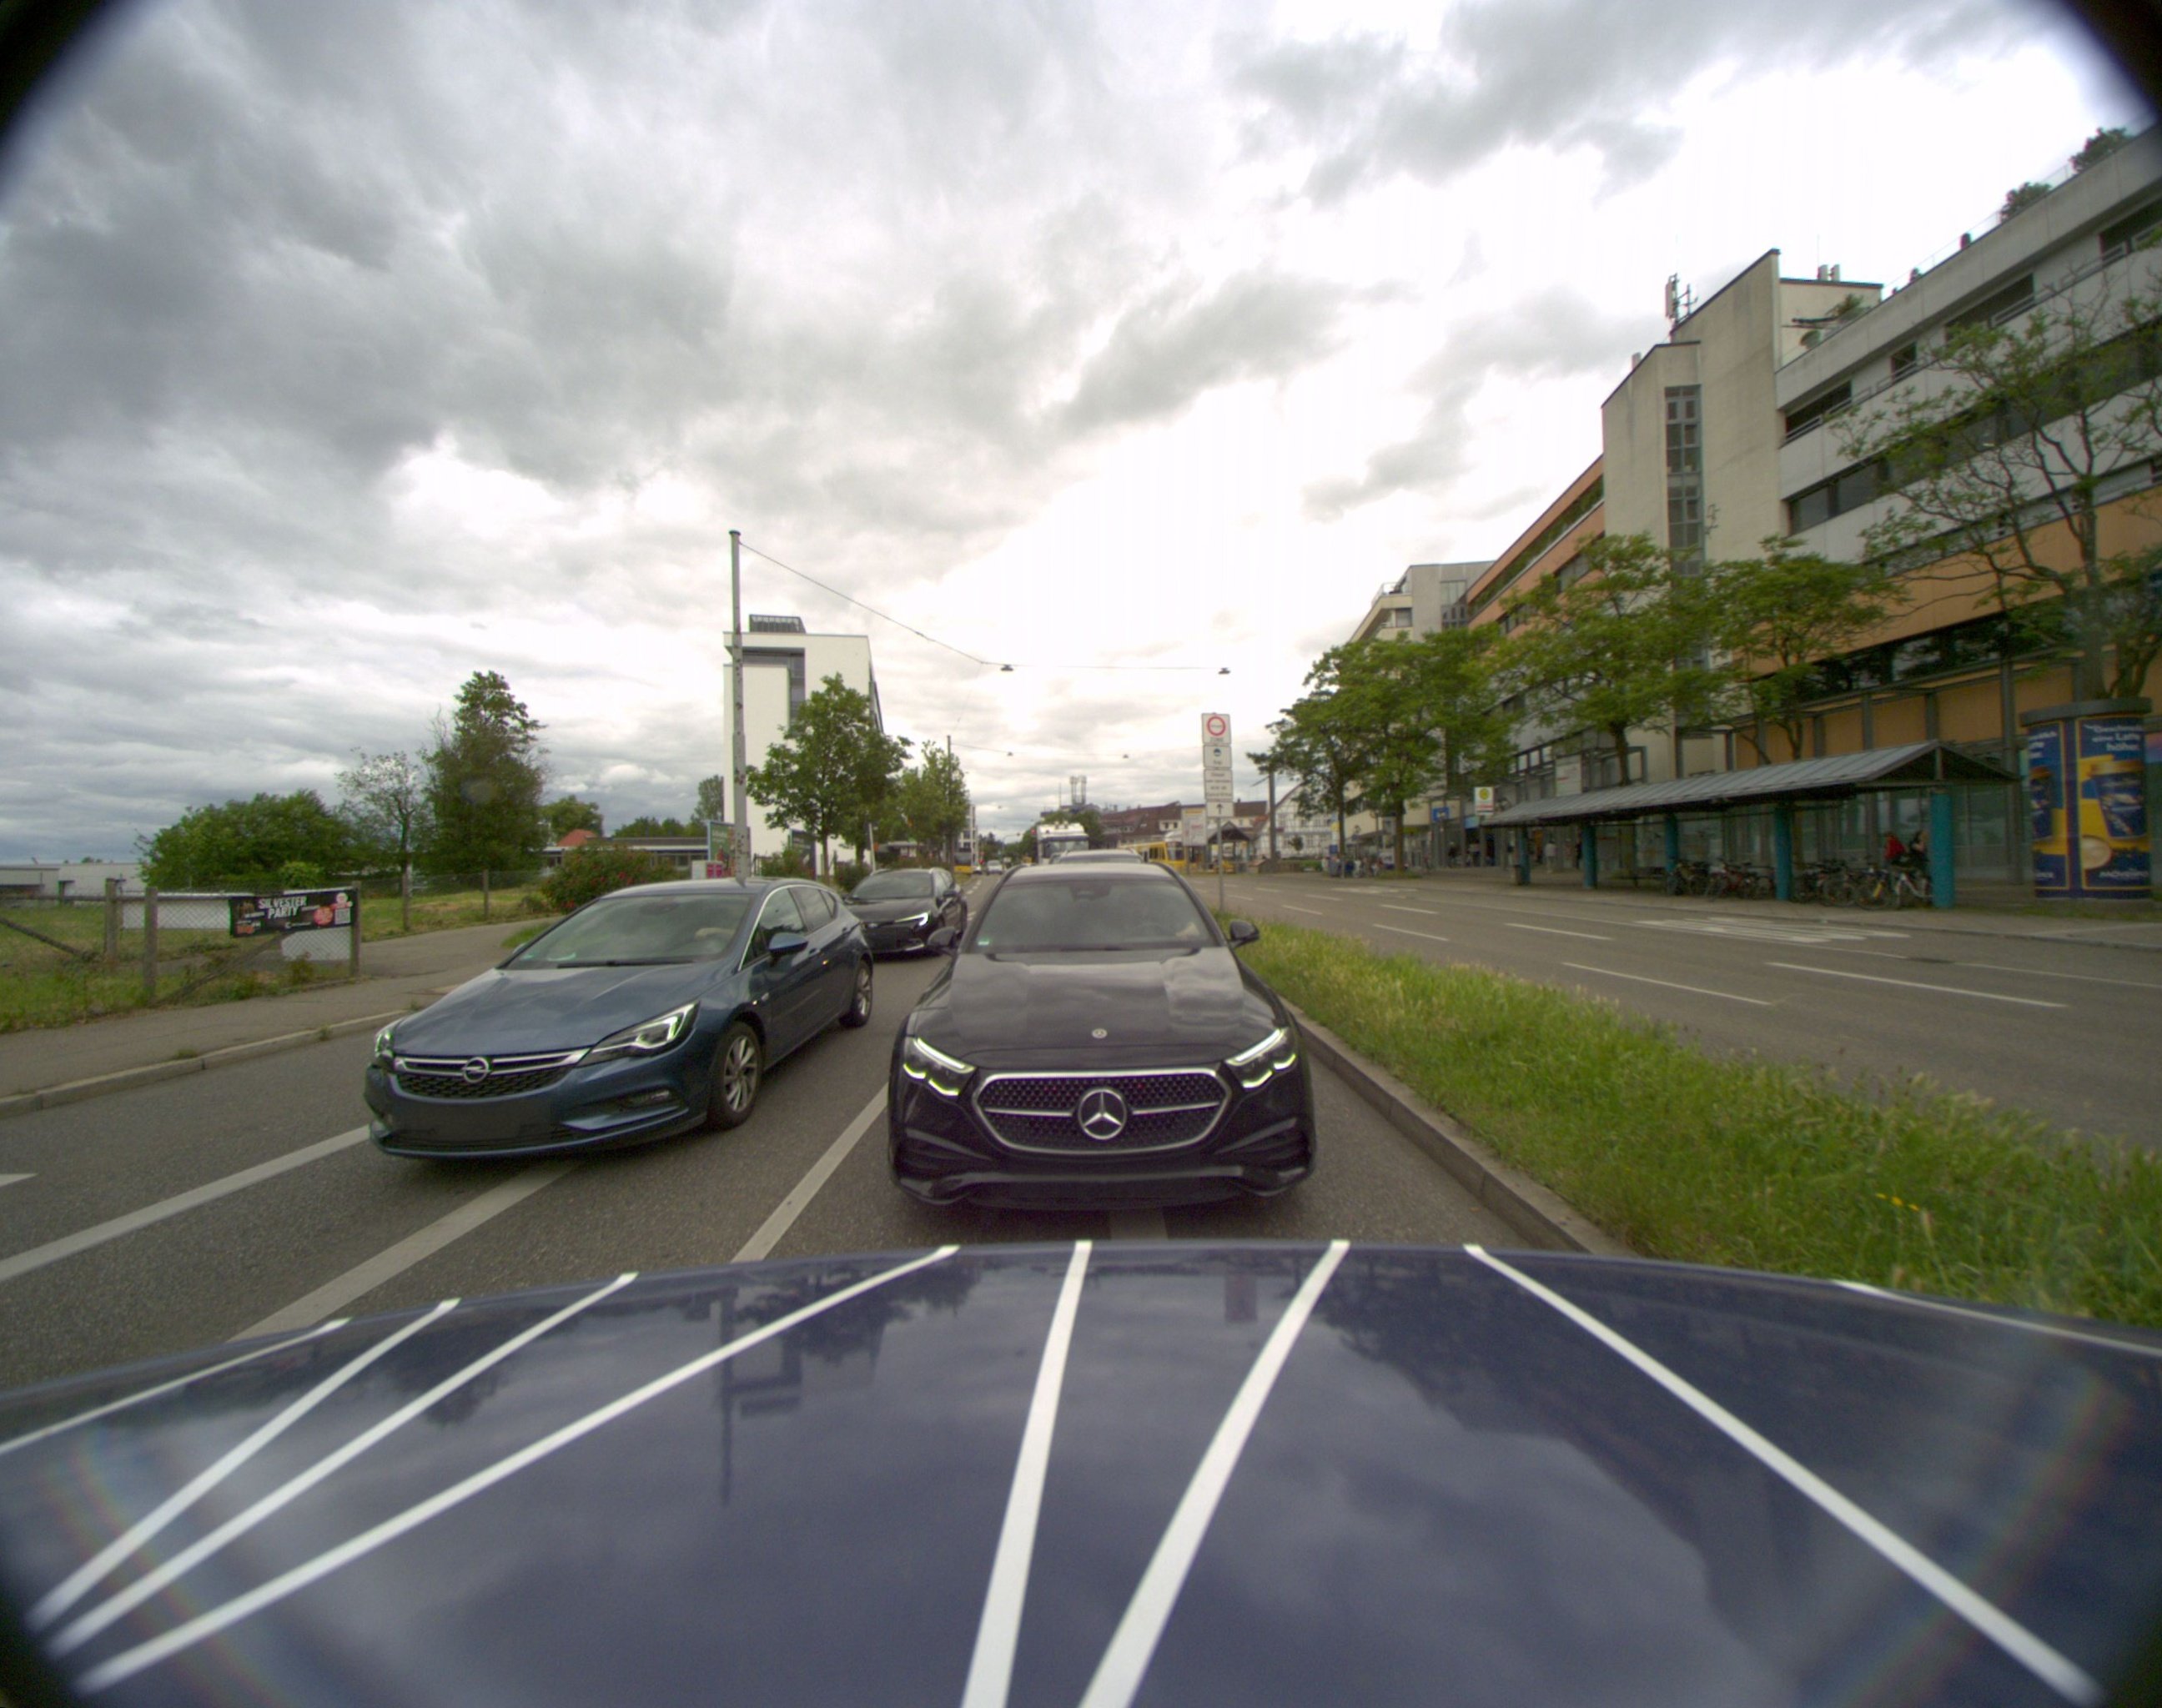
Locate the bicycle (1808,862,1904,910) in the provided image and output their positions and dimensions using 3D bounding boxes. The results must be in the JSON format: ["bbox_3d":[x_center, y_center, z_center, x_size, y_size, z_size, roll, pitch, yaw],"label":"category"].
[{"bbox_3d":[18.630,0.750,18.281,1.735,1.035,0.549,-3,1,-2],"label":"bicycle"}]

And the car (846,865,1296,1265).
[{"bbox_3d":[-0.050,0.883,5.189,1.793,1.507,4.249,-1,0,0],"label":"car"}]

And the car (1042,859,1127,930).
[{"bbox_3d":[0.049,0.910,18.907,1.865,1.520,3.999,-1,0,-1],"label":"car"}]

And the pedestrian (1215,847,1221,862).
[{"bbox_3d":[18.657,0.109,103.143,0.742,2.002,0.939,-1,1,11],"label":"pedestrian"}]

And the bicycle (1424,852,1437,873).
[{"bbox_3d":[19.492,0.467,42.382,0.593,1.119,2.040,0,1,24],"label":"bicycle"}]

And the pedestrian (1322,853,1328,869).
[{"bbox_3d":[18.837,0.541,58.661,0.341,1.172,0.369,-1,1,-9],"label":"pedestrian"}]

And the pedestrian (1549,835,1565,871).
[{"bbox_3d":[24.104,-0.049,38.486,0.648,1.799,0.761,0,1,34],"label":"pedestrian"}]

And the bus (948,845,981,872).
[{"bbox_3d":[-12.809,0.392,82.726,2.969,2.616,12.137,-2,1,-11],"label":"bus"}]

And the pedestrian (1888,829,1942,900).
[{"bbox_3d":[21.582,0.263,19.668,0.531,1.776,0.770,-1,1,-7],"label":"pedestrian"}]

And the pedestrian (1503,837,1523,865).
[{"bbox_3d":[25.669,-0.174,45.109,0.765,1.673,0.752,-1,1,1],"label":"pedestrian"}]

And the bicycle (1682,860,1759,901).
[{"bbox_3d":[18.288,0.742,21.740,1.735,1.035,0.549,-4,1,-2],"label":"bicycle"}]

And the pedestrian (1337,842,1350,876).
[{"bbox_3d":[17.436,0.332,50.511,0.590,2.294,0.608,-1,1,-2],"label":"pedestrian"}]

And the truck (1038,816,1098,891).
[{"bbox_3d":[-0.762,-0.043,36.723,2.490,3.258,7.428,-1,0,-4],"label":"truck"}]

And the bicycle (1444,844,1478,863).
[{"bbox_3d":[27.762,-0.028,55.549,2.138,1.358,0.620,-2,1,26],"label":"bicycle"}]

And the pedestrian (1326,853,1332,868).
[{"bbox_3d":[19.184,0.527,58.753,0.341,1.172,0.369,-1,1,-9],"label":"pedestrian"}]

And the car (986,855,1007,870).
[{"bbox_3d":[-9.519,0.935,85.355,1.853,1.606,3.779,-3,0,-13],"label":"car"}]

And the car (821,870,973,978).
[{"bbox_3d":[-3.009,1.080,13.248,1.665,1.448,3.921,-2,0,0],"label":"car"}]

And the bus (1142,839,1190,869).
[{"bbox_3d":[8.706,0.005,79.013,2.556,2.966,8.498,-1,0,-11],"label":"bus"}]

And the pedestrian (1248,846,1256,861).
[{"bbox_3d":[22.396,-0.045,99.663,0.879,2.002,1.010,-1,1,6],"label":"pedestrian"}]

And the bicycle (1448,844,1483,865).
[{"bbox_3d":[27.000,0.029,53.397,2.139,1.367,0.620,-2,1,18],"label":"bicycle"}]

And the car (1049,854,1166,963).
[{"bbox_3d":[0.396,0.819,13.481,1.734,1.601,4.000,-2,0,0],"label":"car"}]

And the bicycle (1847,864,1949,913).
[{"bbox_3d":[18.689,0.782,17.395,1.735,1.035,0.549,-2,1,-2],"label":"bicycle"}]

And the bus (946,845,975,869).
[{"bbox_3d":[-15.214,0.348,95.049,2.969,2.616,12.911,-2,1,-11],"label":"bus"}]

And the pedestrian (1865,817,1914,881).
[{"bbox_3d":[25.783,-0.159,24.236,0.710,2.002,0.793,-2,1,-9],"label":"pedestrian"}]

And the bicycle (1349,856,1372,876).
[{"bbox_3d":[15.484,0.654,42.015,0.593,1.071,2.041,0,1,38],"label":"bicycle"}]

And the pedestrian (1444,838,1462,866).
[{"bbox_3d":[24.199,-0.141,49.416,0.765,1.835,0.752,-1,1,1],"label":"pedestrian"}]

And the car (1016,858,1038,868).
[{"bbox_3d":[-10.151,1.588,142.048,2.004,1.811,3.988,-1,1,-44],"label":"car"}]

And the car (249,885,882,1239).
[{"bbox_3d":[-2.910,1.049,5.526,1.826,1.402,4.000,-2,0,0],"label":"car"}]

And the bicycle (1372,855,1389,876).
[{"bbox_3d":[16.407,0.621,41.643,0.593,1.071,2.041,0,1,29],"label":"bicycle"}]

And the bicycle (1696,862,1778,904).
[{"bbox_3d":[17.952,0.788,20.808,1.735,1.035,0.549,-3,1,-2],"label":"bicycle"}]

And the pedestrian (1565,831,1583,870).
[{"bbox_3d":[25.573,-0.157,39.397,0.566,2.002,0.611,-1,1,6],"label":"pedestrian"}]

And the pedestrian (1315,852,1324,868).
[{"bbox_3d":[22.435,0.547,71.490,0.577,1.533,0.583,-1,1,-8],"label":"pedestrian"}]

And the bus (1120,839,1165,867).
[{"bbox_3d":[6.942,-0.097,87.948,2.556,2.966,9.790,-1,0,-11],"label":"bus"}]

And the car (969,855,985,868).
[{"bbox_3d":[-15.620,1.145,114.171,1.853,1.875,4.132,-3,0,-13],"label":"car"}]

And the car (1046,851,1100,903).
[{"bbox_3d":[-0.362,0.775,28.344,1.865,1.773,3.999,-1,0,-2],"label":"car"}]

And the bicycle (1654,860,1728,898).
[{"bbox_3d":[18.209,0.746,22.701,1.735,1.035,0.549,-3,1,-2],"label":"bicycle"}]

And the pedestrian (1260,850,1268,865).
[{"bbox_3d":[19.005,0.374,78.860,0.577,1.533,0.583,-1,1,-8],"label":"pedestrian"}]

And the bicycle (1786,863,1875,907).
[{"bbox_3d":[19.029,0.773,19.306,1.735,1.035,0.549,-2,1,-2],"label":"bicycle"}]
